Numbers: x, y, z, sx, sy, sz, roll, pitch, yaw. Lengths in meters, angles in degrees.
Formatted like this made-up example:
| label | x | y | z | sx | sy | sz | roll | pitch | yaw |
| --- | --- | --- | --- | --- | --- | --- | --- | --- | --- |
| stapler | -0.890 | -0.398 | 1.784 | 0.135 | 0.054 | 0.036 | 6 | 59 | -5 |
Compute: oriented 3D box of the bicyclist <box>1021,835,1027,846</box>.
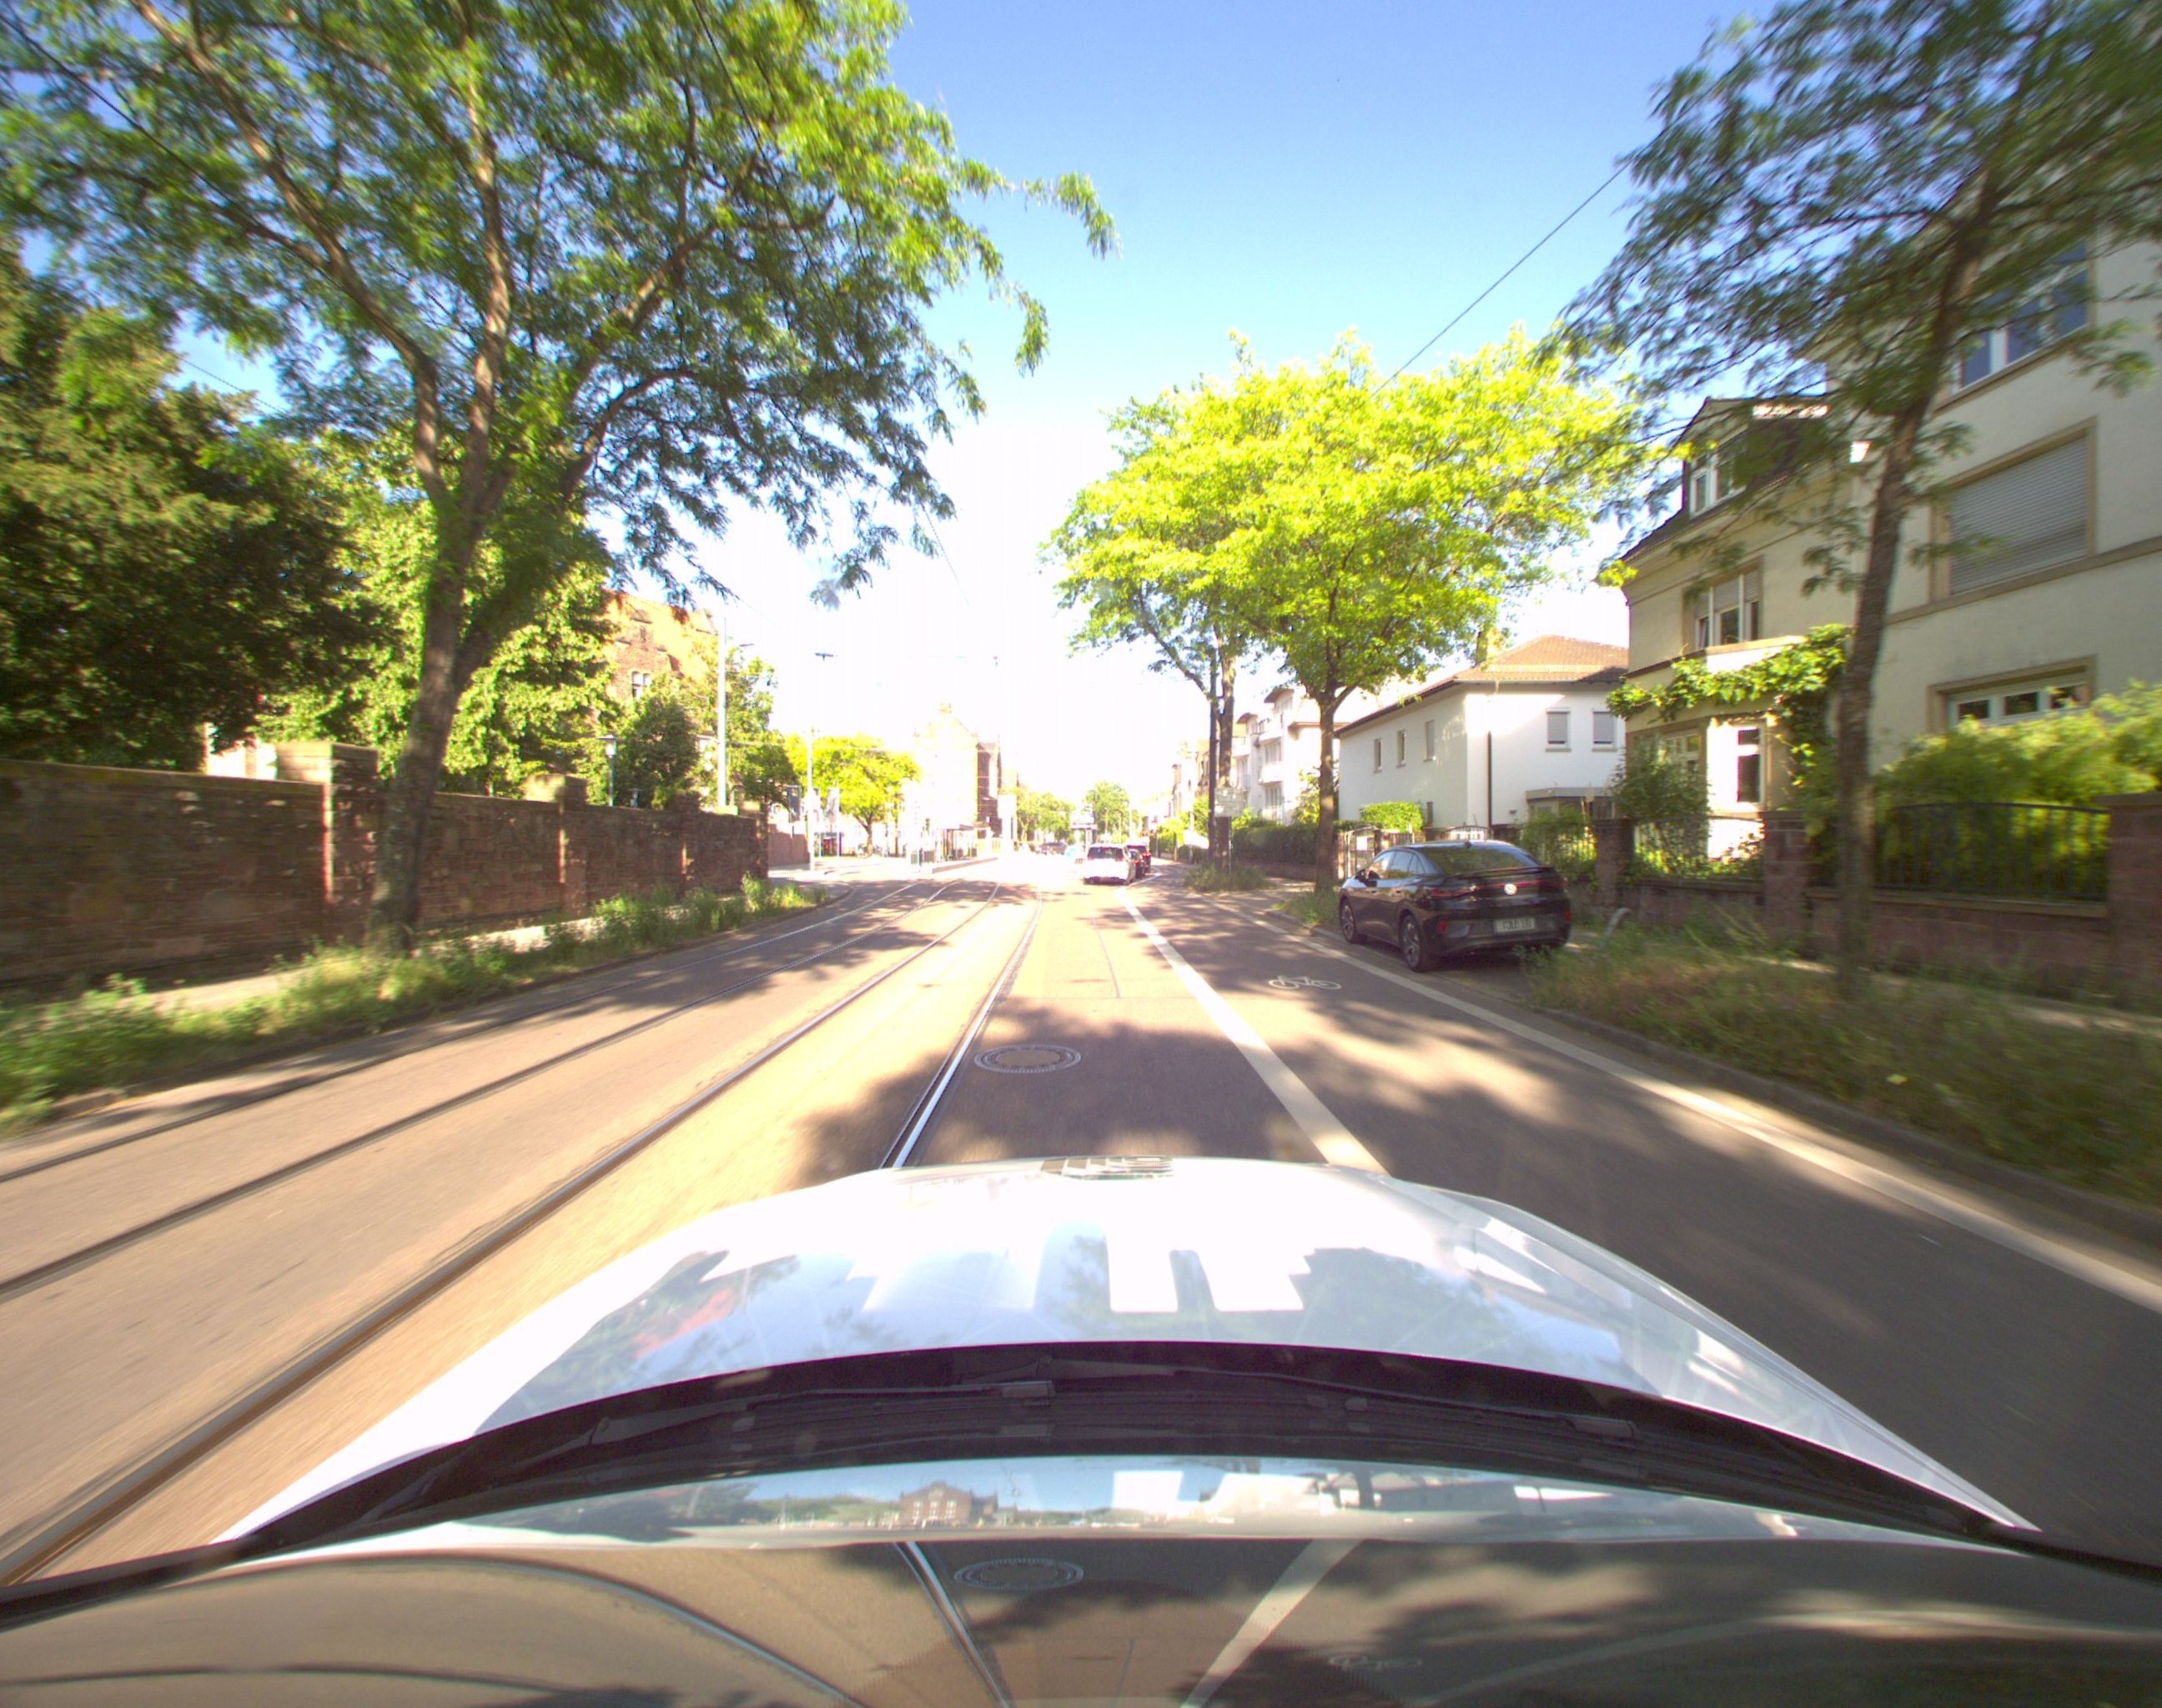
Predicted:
| label | x | y | z | sx | sy | sz | roll | pitch | yaw |
| --- | --- | --- | --- | --- | --- | --- | --- | --- | --- |
| bicyclist | -9.013 | -2.098 | 129.044 | 0.940 | 1.734 | 0.861 | -1 | 1 | 0 |

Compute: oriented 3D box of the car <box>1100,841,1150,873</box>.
| label | x | y | z | sx | sy | sz | roll | pitch | yaw |
| --- | --- | --- | --- | --- | --- | --- | --- | --- | --- |
| car | 2.207 | 0.133 | 39.993 | 1.981 | 1.442 | 4.012 | -1 | 1 | 10 |

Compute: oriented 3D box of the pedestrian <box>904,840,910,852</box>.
| label | x | y | z | sx | sy | sz | roll | pitch | yaw |
| --- | --- | --- | --- | --- | --- | --- | --- | --- | --- |
| pedestrian | -18.965 | -0.885 | 88.613 | 0.556 | 1.259 | 0.530 | -1 | 1 | -1 |

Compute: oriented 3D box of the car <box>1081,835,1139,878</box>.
| label | x | y | z | sx | sy | sz | roll | pitch | yaw |
| --- | --- | --- | --- | --- | --- | --- | --- | --- | --- |
| car | 1.249 | 0.126 | 33.404 | 1.882 | 1.611 | 4.238 | -1 | -1 | 8 |

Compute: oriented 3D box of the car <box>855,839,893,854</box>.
| label | x | y | z | sx | sy | sz | roll | pitch | yaw |
| --- | --- | --- | --- | --- | --- | --- | --- | --- | --- |
| car | -24.644 | -0.921 | 97.035 | 3.979 | 1.789 | 1.997 | -1 | 1 | -4 |

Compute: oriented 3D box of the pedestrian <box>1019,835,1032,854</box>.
| label | x | y | z | sx | sy | sz | roll | pitch | yaw |
| --- | --- | --- | --- | --- | --- | --- | --- | --- | --- |
| pedestrian | -5.898 | -1.042 | 86.754 | 1.148 | 2.013 | 1.123 | -1 | 1 | 12 |

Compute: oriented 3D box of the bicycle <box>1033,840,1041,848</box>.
| label | x | y | z | sx | sy | sz | roll | pitch | yaw |
| --- | --- | --- | --- | --- | --- | --- | --- | --- | --- |
| bicycle | -7.079 | -1.684 | 131.578 | 1.145 | 1.297 | 2.860 | -1 | 1 | -1 |

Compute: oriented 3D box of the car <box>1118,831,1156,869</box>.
| label | x | y | z | sx | sy | sz | roll | pitch | yaw |
| --- | --- | --- | --- | --- | --- | --- | --- | --- | --- |
| car | 3.230 | -0.250 | 46.101 | 1.698 | 2.013 | 3.918 | -1 | 1 | 10 |

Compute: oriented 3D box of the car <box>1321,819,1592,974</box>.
| label | x | y | z | sx | sy | sz | roll | pitch | yaw |
| --- | --- | --- | --- | --- | --- | --- | --- | --- | --- |
| car | 5.095 | 0.457 | 11.908 | 1.797 | 1.694 | 4.731 | -4 | 1 | 2 |

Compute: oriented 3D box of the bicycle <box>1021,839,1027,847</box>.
| label | x | y | z | sx | sy | sz | roll | pitch | yaw |
| --- | --- | --- | --- | --- | --- | --- | --- | --- | --- |
| bicycle | -9.022 | -1.767 | 128.760 | 0.819 | 1.297 | 2.677 | -1 | 1 | -1 |
